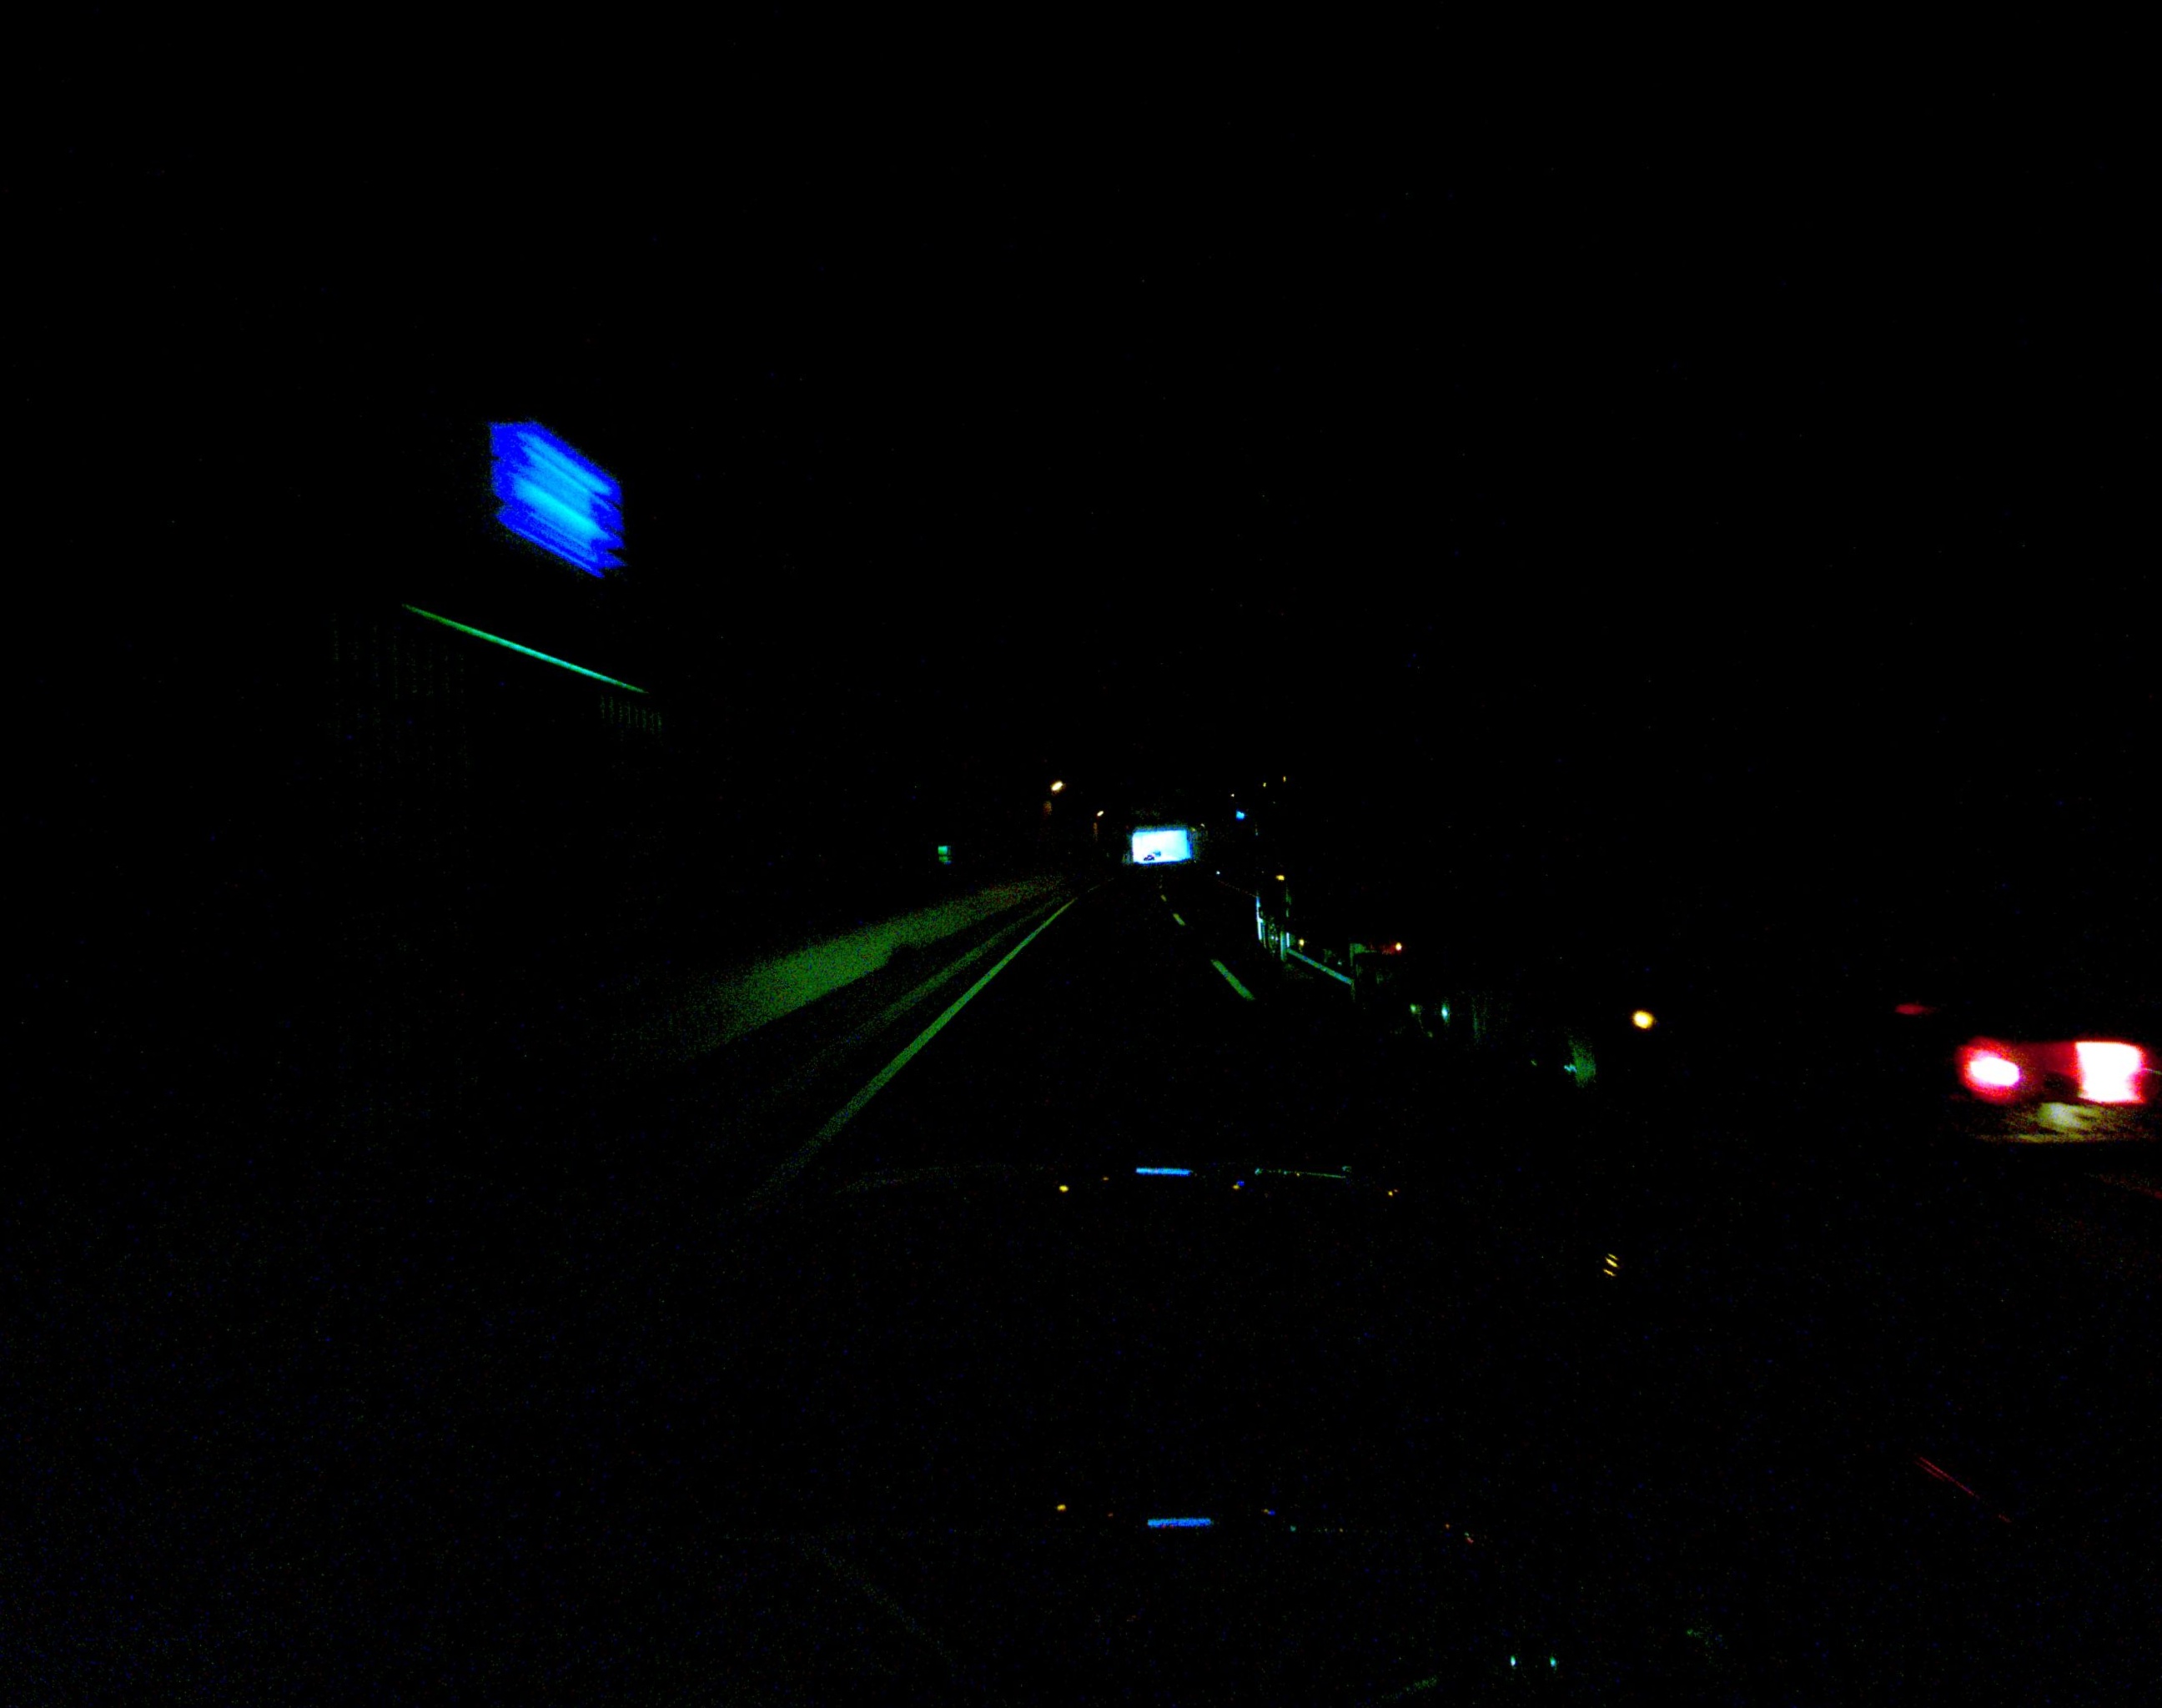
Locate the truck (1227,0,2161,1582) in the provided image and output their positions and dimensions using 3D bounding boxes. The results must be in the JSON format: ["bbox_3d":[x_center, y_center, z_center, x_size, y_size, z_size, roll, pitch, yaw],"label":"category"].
[{"bbox_3d":[3.434,-0.548,6.590,2.878,3.913,9.913,-2,0,2],"label":"truck"}]

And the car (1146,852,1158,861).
[{"bbox_3d":[11.904,0.435,136.455,1.832,1.388,4.007,-2,-1,6],"label":"car"}]

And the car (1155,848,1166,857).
[{"bbox_3d":[15.015,-0.255,153.670,1.861,1.732,4.004,-2,-1,4],"label":"car"}]
